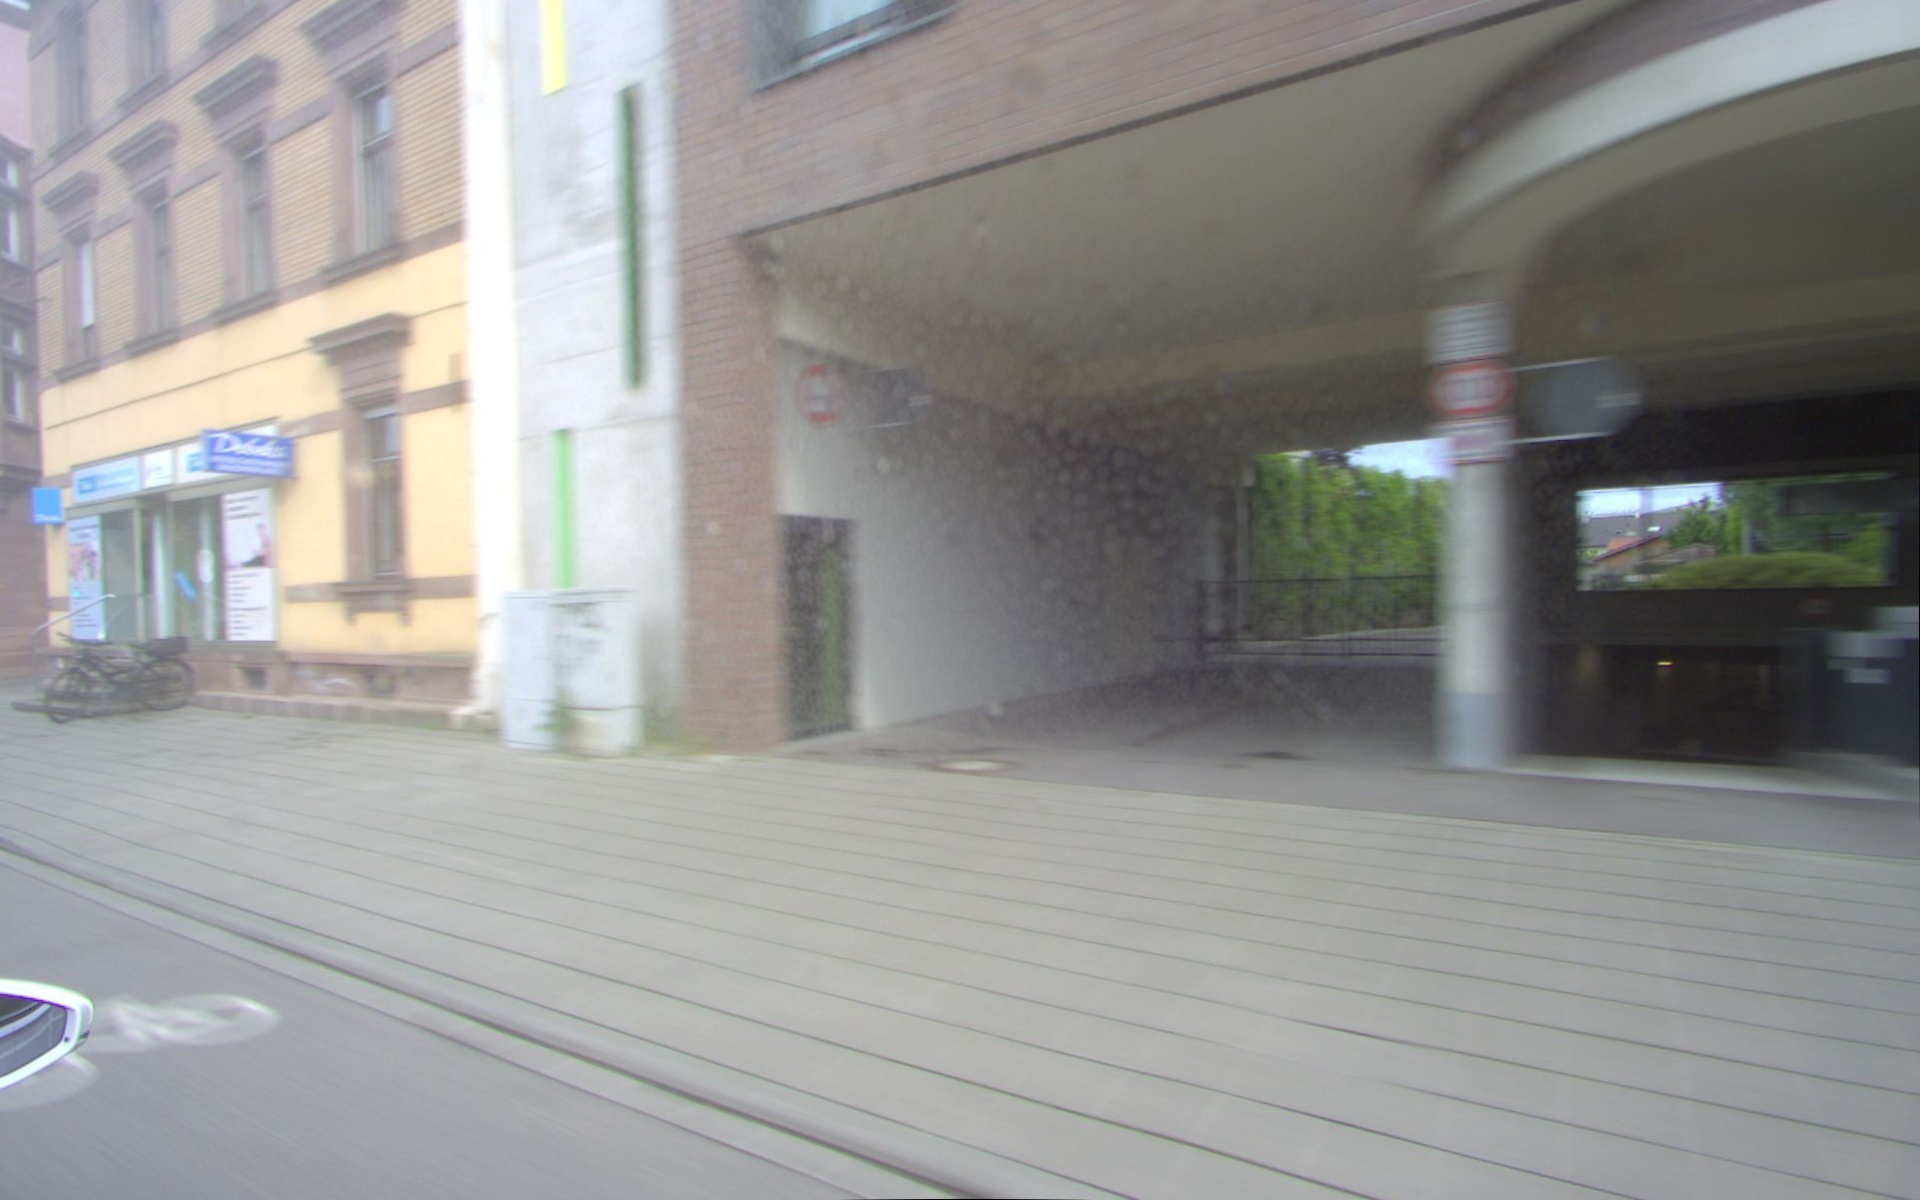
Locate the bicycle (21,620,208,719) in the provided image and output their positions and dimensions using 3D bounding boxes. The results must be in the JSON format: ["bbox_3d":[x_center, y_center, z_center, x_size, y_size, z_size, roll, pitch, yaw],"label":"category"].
[{"bbox_3d":[-11.345,0.890,13.507,0.633,1.145,1.773,0,3,31],"label":"bicycle"}]
